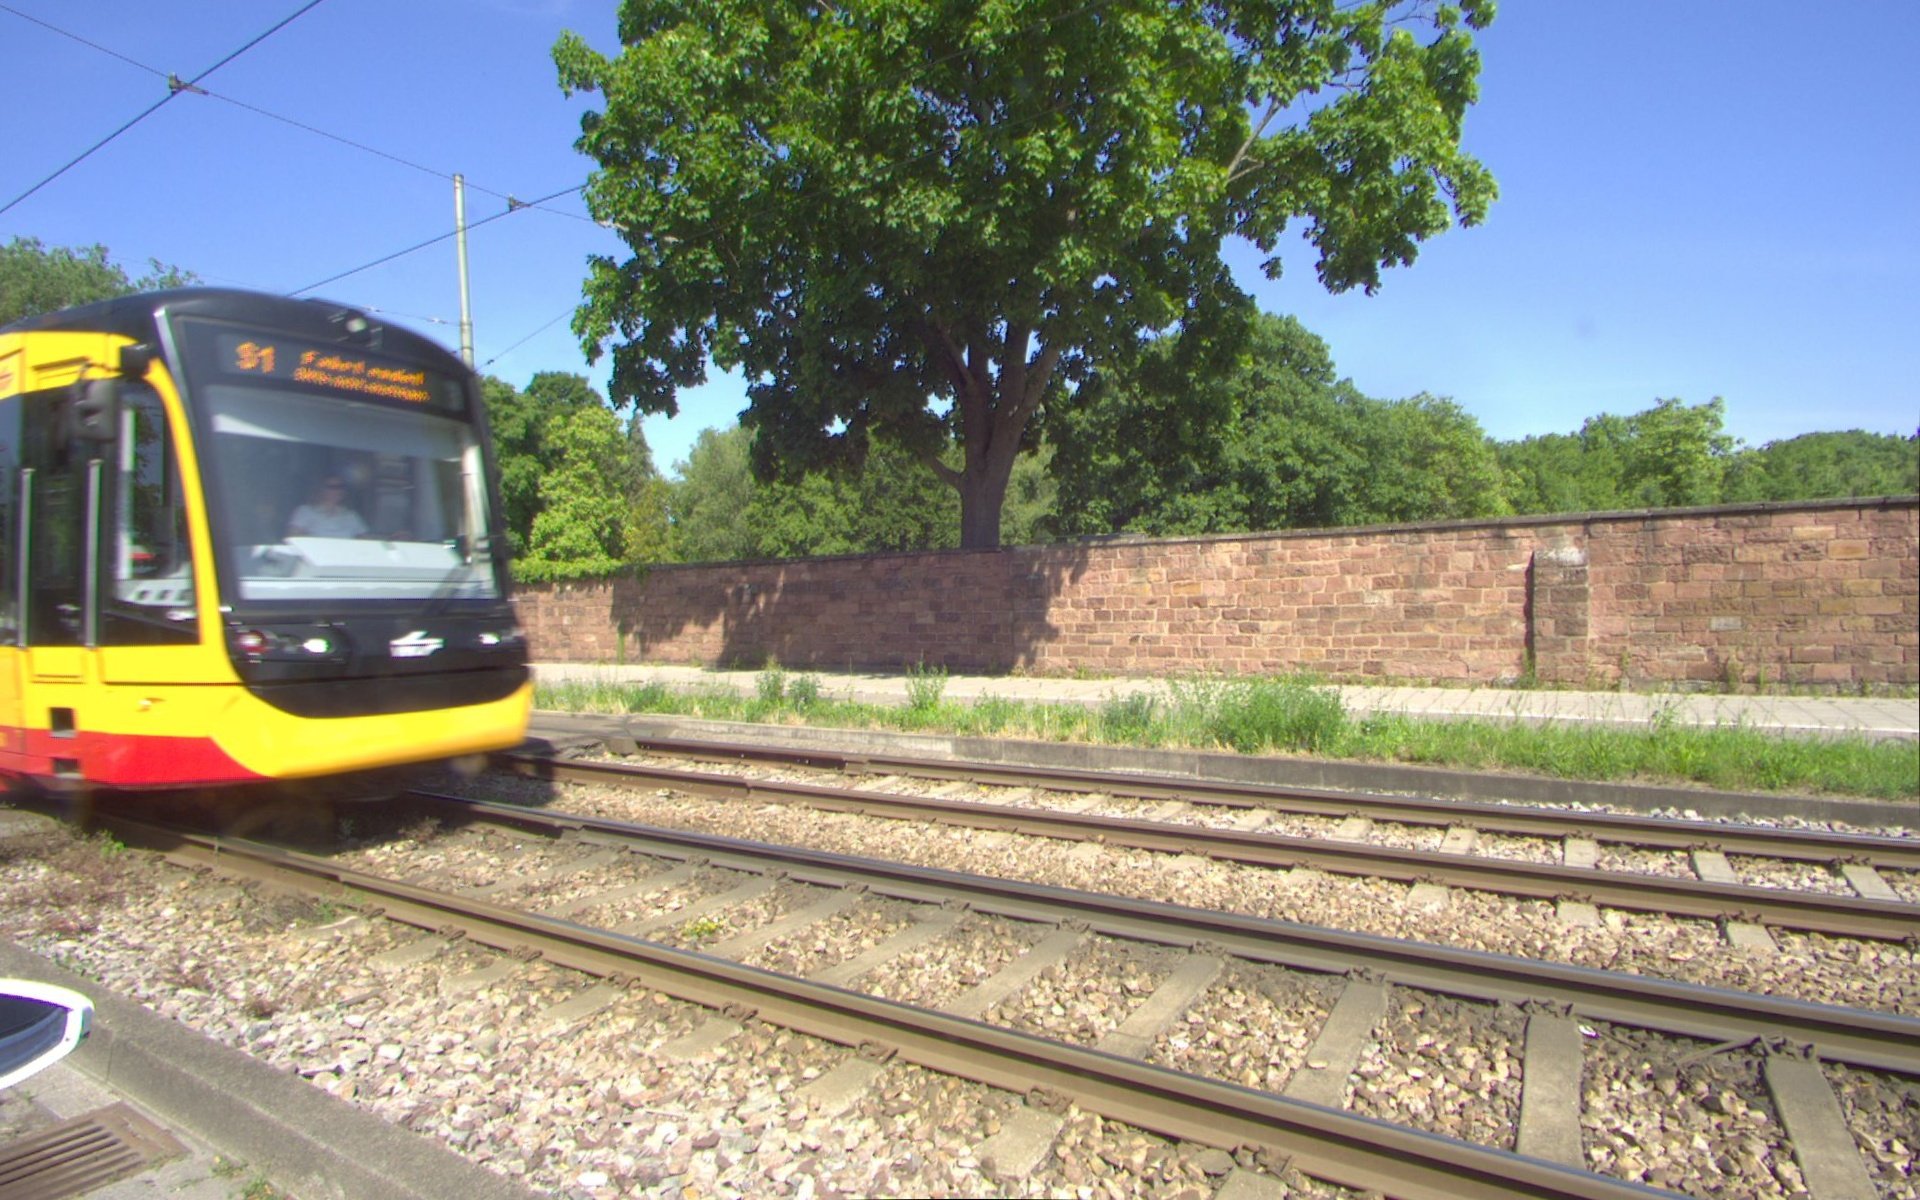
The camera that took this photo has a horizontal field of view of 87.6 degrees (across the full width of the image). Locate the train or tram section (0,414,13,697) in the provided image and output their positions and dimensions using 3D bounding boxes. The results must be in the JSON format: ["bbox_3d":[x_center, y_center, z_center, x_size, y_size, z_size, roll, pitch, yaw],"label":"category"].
[{"bbox_3d":[-19.220,-0.523,15.528,12.200,3.907,2.867,-1,1,28],"label":"train or tram section"}]

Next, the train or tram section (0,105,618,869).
[{"bbox_3d":[-8.604,-0.501,9.468,12.207,3.907,2.866,-1,1,30],"label":"train or tram section"}]
